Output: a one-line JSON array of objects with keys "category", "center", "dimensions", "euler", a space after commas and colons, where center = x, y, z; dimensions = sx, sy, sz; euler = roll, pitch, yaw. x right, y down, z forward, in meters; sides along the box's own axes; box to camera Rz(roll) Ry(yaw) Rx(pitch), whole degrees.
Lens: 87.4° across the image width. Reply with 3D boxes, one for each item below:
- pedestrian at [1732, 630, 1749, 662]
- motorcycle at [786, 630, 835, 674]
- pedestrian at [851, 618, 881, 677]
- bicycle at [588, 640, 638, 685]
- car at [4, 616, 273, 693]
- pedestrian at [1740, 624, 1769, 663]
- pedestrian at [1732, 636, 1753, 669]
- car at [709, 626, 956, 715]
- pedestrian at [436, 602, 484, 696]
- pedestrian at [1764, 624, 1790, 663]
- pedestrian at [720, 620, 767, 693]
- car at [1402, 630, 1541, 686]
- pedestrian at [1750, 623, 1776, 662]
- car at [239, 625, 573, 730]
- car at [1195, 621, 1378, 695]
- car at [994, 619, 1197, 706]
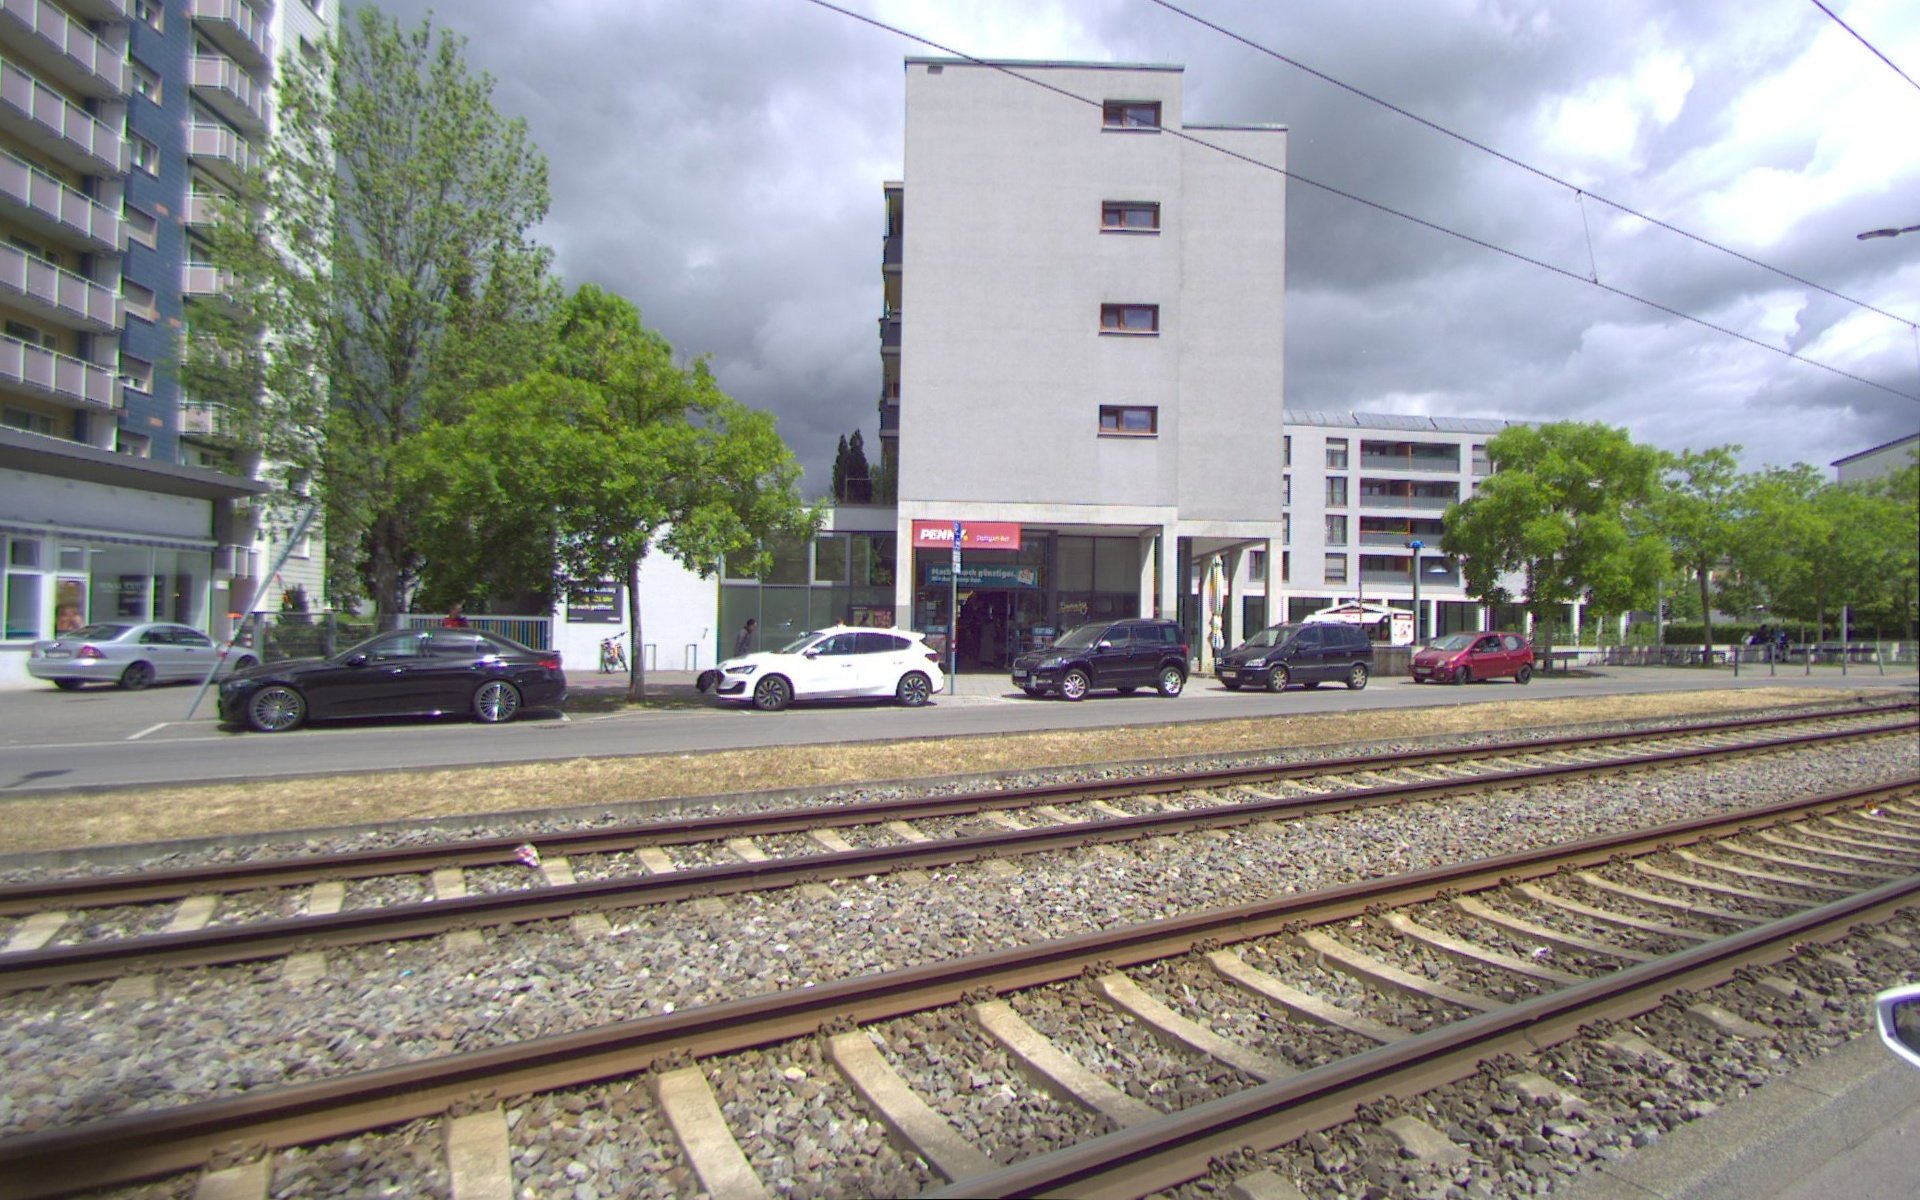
[{"category": "pedestrian", "center": [31.709, 1.870, 40.819], "dimensions": [0.493, 1.283, 0.498], "euler": [-2, -2, 39]}, {"category": "motorcycle", "center": [-4.272, 1.471, 28.606], "dimensions": [0.733, 1.193, 1.883], "euler": [0, -2, -30]}, {"category": "pedestrian", "center": [-2.388, 1.198, 25.522], "dimensions": [0.550, 1.479, 0.498], "euler": [-2, -2, 25]}, {"category": "bicycle", "center": [-9.987, 1.784, 28.958], "dimensions": [0.656, 1.228, 1.974], "euler": [-1, -2, 3]}, {"category": "car", "center": [-17.539, 1.151, 21.787], "dimensions": [1.959, 1.461, 4.359], "euler": [-1, -2, 7]}, {"category": "pedestrian", "center": [32.589, 1.771, 41.210], "dimensions": [0.687, 1.594, 0.622], "euler": [0, -2, -17]}, {"category": "pedestrian", "center": [38.031, 2.542, 48.797], "dimensions": [0.519, 1.567, 0.545], "euler": [-1, -2, -7]}, {"category": "car", "center": [-2.410, 1.280, 19.049], "dimensions": [4.337, 1.494, 1.750], "euler": [0, -2, -24]}, {"category": "pedestrian", "center": [-9.934, 0.965, 19.970], "dimensions": [0.833, 1.816, 0.608], "euler": [0, -2, -29]}, {"category": "pedestrian", "center": [34.151, 1.821, 41.984], "dimensions": [0.550, 1.594, 0.621], "euler": [0, -2, -23]}, {"category": "pedestrian", "center": [-4.721, 1.226, 21.881], "dimensions": [0.957, 1.554, 0.601], "euler": [0, -2, -16]}, {"category": "car", "center": [14.190, 1.583, 27.889], "dimensions": [3.373, 1.445, 1.610], "euler": [0, -2, -22]}, {"category": "pedestrian", "center": [33.266, 1.777, 41.618], "dimensions": [0.549, 1.594, 0.622], "euler": [0, -2, -17]}, {"category": "car", "center": [-8.418, 1.122, 15.667], "dimensions": [4.323, 1.447, 1.729], "euler": [1, -2, -26]}, {"category": "car", "center": [8.054, 1.381, 24.806], "dimensions": [4.045, 1.669, 1.987], "euler": [0, -2, -26]}, {"category": "car", "center": [2.969, 1.275, 21.824], "dimensions": [4.052, 1.685, 1.984], "euler": [0, -1, -31]}]
